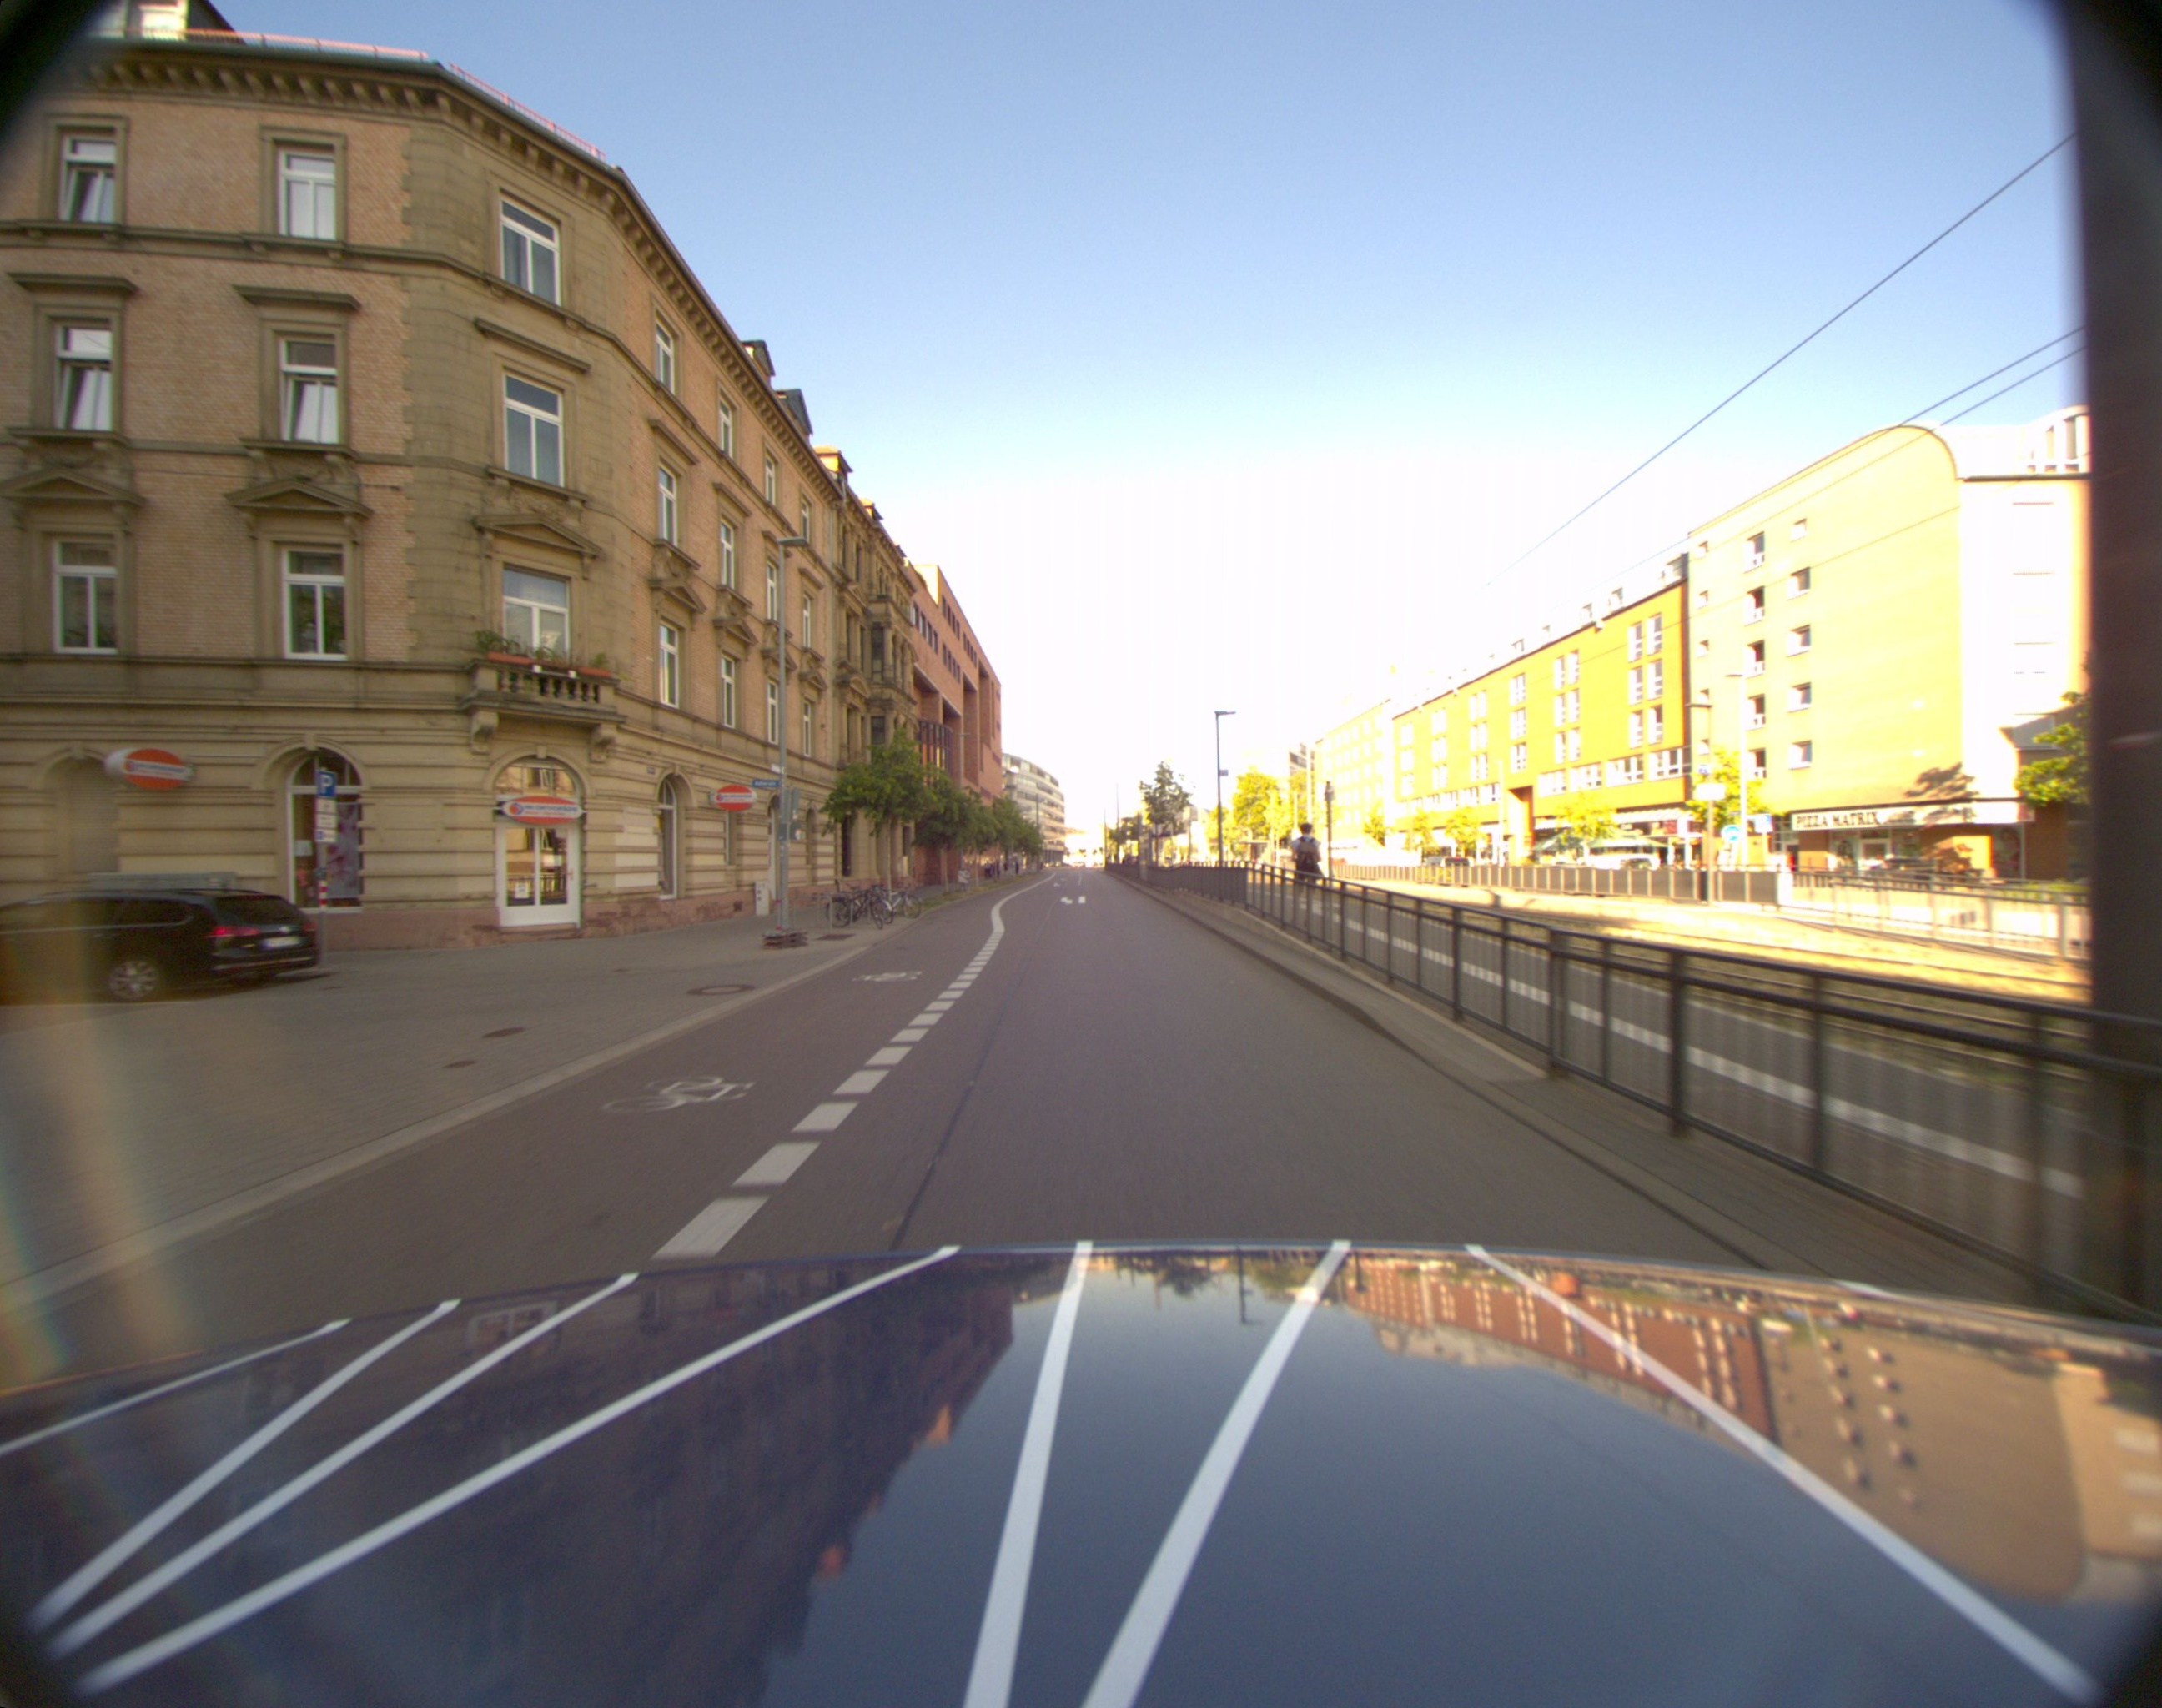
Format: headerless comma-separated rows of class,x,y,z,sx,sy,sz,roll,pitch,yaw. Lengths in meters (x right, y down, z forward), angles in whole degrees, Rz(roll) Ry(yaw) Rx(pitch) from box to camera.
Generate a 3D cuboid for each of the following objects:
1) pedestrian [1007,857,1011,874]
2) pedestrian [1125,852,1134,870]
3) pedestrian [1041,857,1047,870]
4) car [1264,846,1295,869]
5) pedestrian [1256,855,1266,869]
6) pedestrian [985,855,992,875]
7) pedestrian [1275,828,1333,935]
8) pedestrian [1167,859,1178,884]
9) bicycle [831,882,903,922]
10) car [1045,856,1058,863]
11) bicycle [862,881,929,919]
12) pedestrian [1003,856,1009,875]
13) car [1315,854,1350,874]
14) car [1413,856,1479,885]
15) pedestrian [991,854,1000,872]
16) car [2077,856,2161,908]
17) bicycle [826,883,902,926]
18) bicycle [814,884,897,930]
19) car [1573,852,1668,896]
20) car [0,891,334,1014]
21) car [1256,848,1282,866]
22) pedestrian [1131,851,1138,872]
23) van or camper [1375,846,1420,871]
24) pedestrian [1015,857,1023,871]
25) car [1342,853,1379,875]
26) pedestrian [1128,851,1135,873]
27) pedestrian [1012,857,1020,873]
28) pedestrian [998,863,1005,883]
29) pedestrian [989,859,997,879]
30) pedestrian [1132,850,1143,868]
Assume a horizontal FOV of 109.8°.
pedestrian,-7.794,1.246,82.252,0.421,1.746,0.538,-1,0,5
pedestrian,4.055,0.596,64.087,0.674,1.553,0.906,-1,0,0
pedestrian,-5.060,1.324,104.572,0.624,1.692,0.749,-1,0,-13
car,21.499,0.398,82.513,2.051,2.344,4.920,-1,0,0
pedestrian,15.383,0.671,64.861,0.674,1.183,0.906,-1,0,0
pedestrian,-8.216,0.998,67.787,0.538,1.746,0.421,-1,1,-18
pedestrian,3.534,0.420,12.078,0.656,1.633,0.867,-1,1,1
pedestrian,5.083,0.992,42.186,0.430,1.377,0.407,-1,0,-11
bicycle,-6.088,1.364,21.687,1.831,1.058,0.663,2,-1,-4
car,-6.827,1.293,177.890,1.901,1.611,4.177,-1,-1,15
bicycle,-5.614,1.384,23.054,1.831,1.058,0.663,2,-1,-4
pedestrian,-6.915,1.067,70.107,0.537,1.746,0.695,-1,0,1
car,24.246,0.994,73.426,1.891,1.855,4.316,-1,-1,0
car,22.463,0.979,47.044,1.998,1.707,4.943,-1,0,4
pedestrian,-8.032,0.851,71.276,0.734,1.746,0.695,-1,0,3
car,33.522,0.833,22.745,1.842,1.575,4.155,0,-1,-5
bicycle,-5.776,1.337,20.298,1.831,1.058,0.663,2,-1,-4
bicycle,-5.572,1.309,18.822,1.831,1.058,0.663,2,-1,-4
car,26.063,0.946,36.921,1.997,2.001,4.150,-1,-1,6
car,-13.089,1.260,10.179,4.155,1.380,1.616,0,1,-11
car,24.959,0.388,101.196,2.084,2.276,5.264,-1,0,-1
pedestrian,4.239,0.589,60.676,0.506,1.722,0.651,-1,0,0
van or camper,29.434,0.506,70.893,1.998,2.156,5.618,-1,-2,2
pedestrian,-6.906,1.109,84.939,0.703,1.596,0.519,0,1,36
car,24.158,0.860,65.821,1.890,1.855,4.317,-1,-1,3
pedestrian,3.919,0.622,58.613,0.506,1.669,0.651,-1,0,0
pedestrian,-7.278,1.220,84.504,0.639,1.703,0.574,0,1,31
pedestrian,-7.158,1.676,68.108,0.537,1.746,0.465,-1,1,1
pedestrian,-8.012,1.367,69.166,0.537,1.746,0.696,-1,0,11
pedestrian,5.119,0.441,69.015,0.890,1.662,1.095,-1,0,-4
